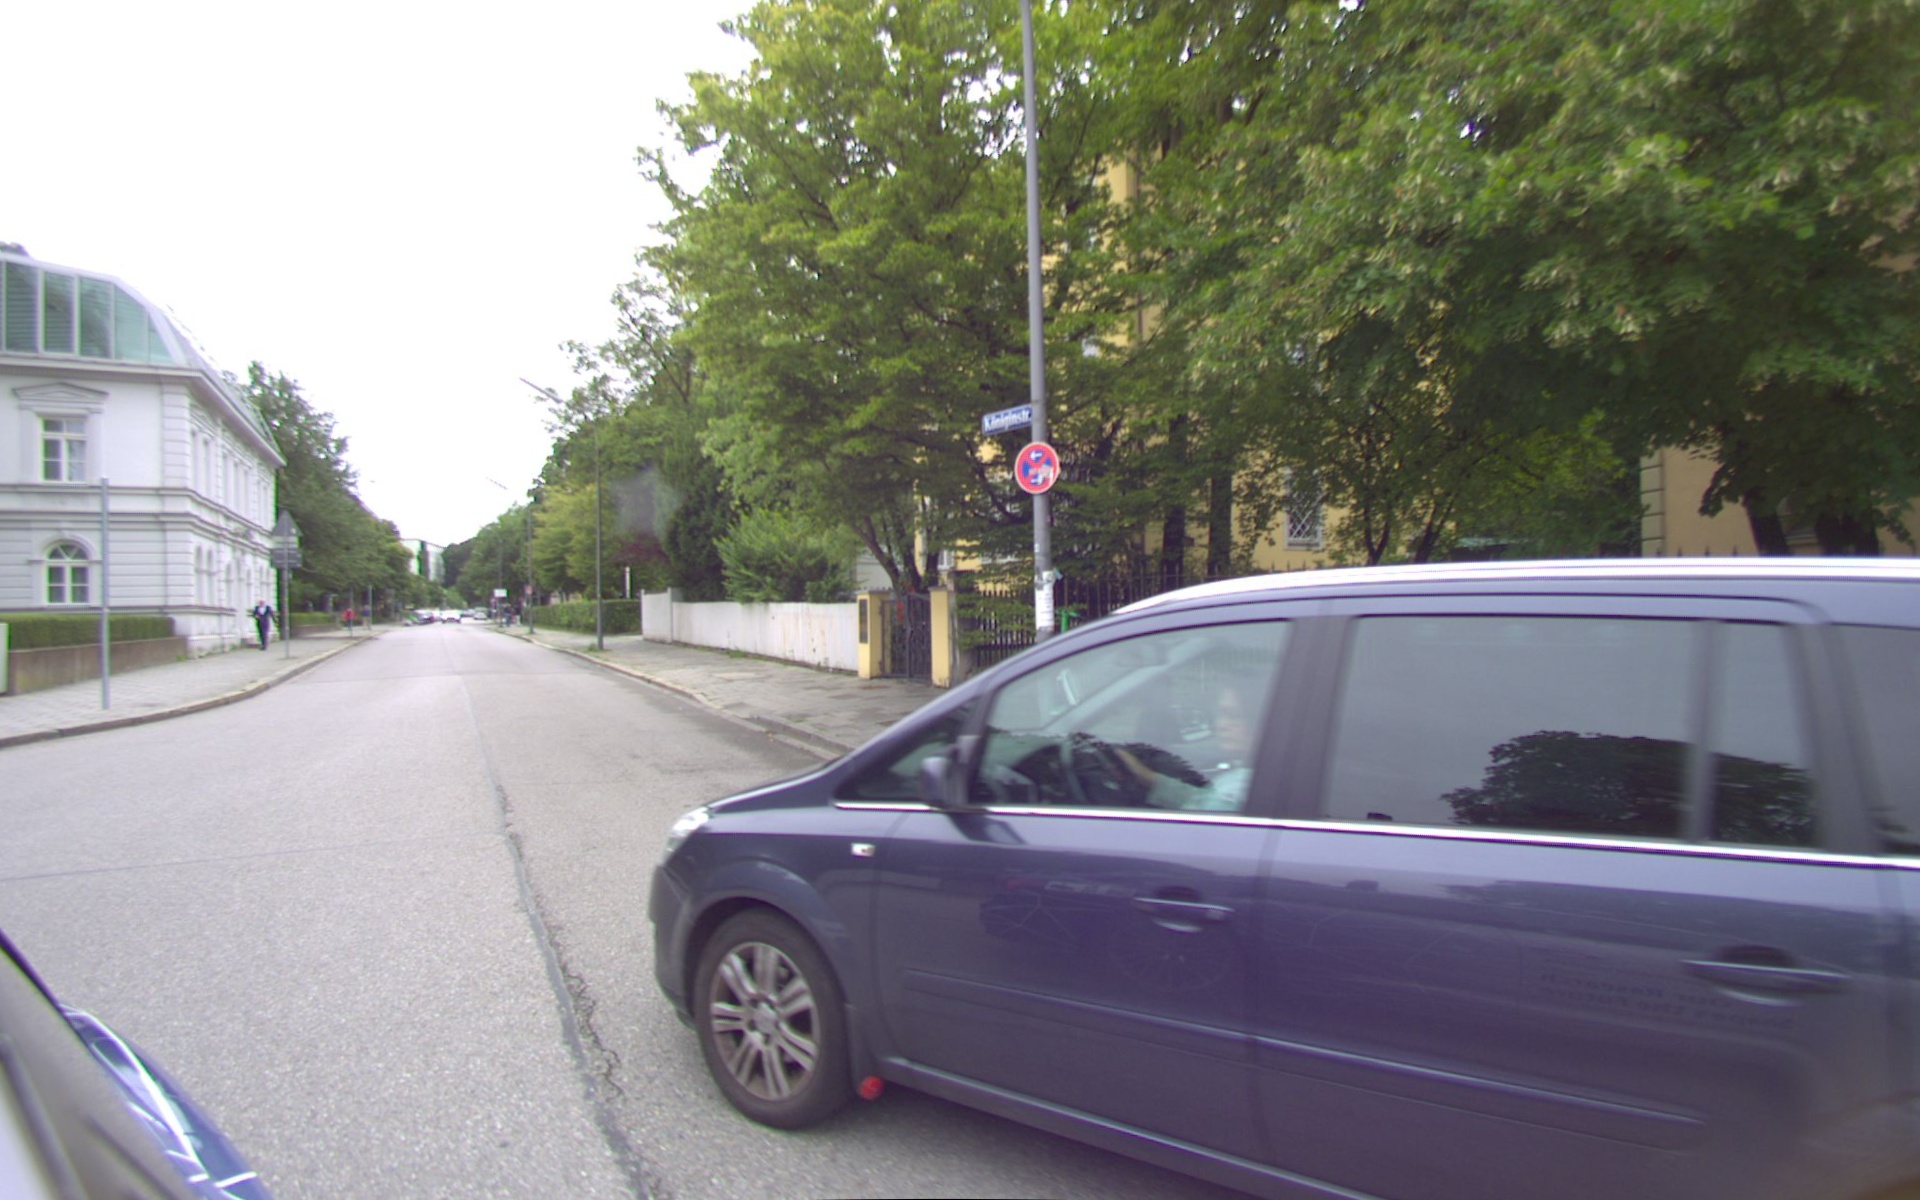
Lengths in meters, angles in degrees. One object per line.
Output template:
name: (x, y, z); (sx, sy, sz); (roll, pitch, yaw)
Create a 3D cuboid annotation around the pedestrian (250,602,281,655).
pedestrian: (-23.275, 0.957, 33.929); (0.668, 1.719, 0.771); (2, -2, -23)

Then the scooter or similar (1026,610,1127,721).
scooter or similar: (1.340, 0.732, 11.887); (0.385, 1.198, 1.424); (-5, 2, -25)

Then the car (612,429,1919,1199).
car: (1.267, 0.636, 2.794); (4.322, 1.706, 1.977); (-1, -2, 33)

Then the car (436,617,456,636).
car: (-58.289, 2.947, 114.787); (1.965, 2.029, 4.013); (-1, 0, -28)
